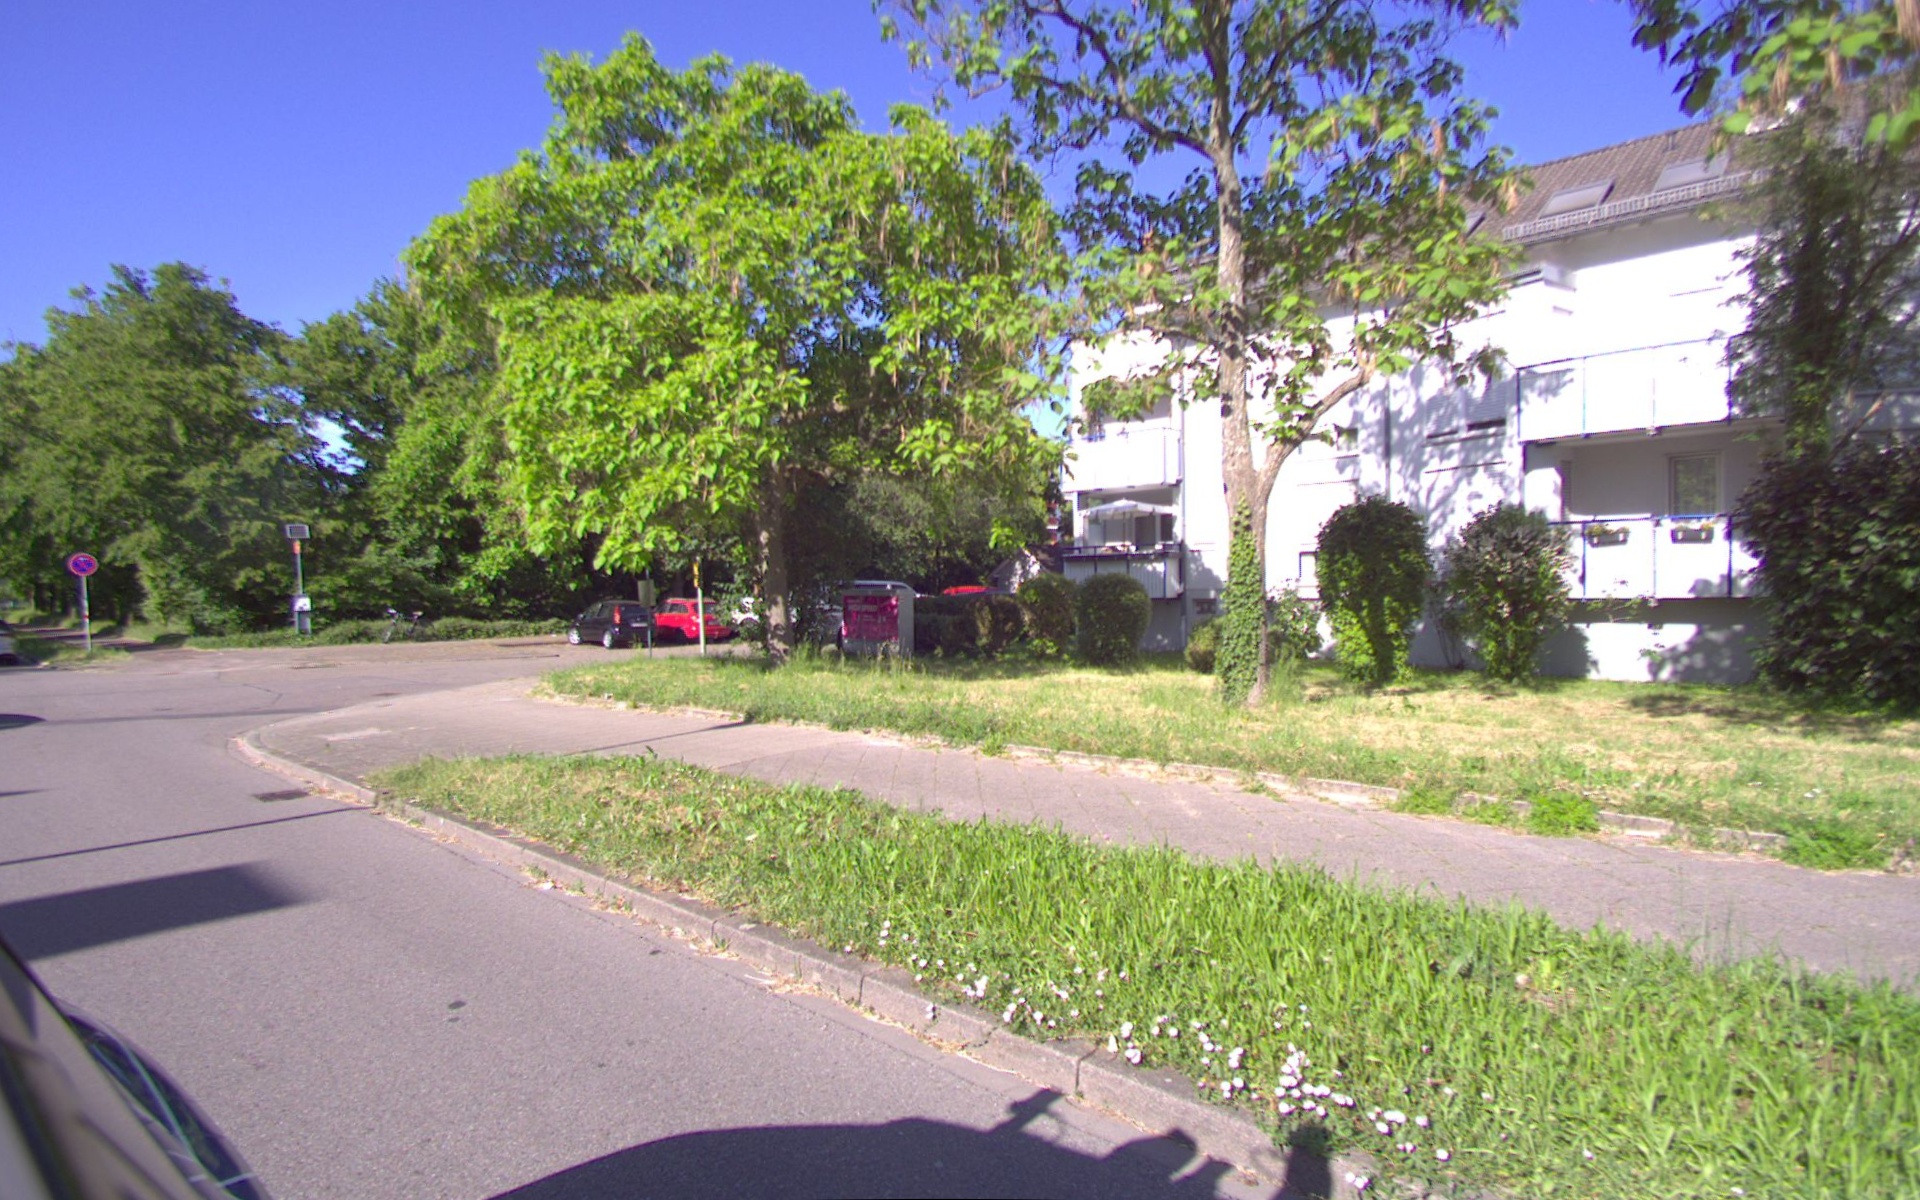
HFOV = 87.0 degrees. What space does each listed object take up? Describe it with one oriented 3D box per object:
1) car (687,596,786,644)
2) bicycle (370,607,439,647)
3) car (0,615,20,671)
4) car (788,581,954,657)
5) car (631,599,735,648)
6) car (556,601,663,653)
[{"bbox_3d":[-8.239,0.677,37.090,3.886,1.615,1.652,1,1,43],"label":"car"},{"bbox_3d":[-18.004,0.860,32.835,1.874,1.160,0.762,-1,3,-36],"label":"bicycle"},{"bbox_3d":[-27.983,1.162,28.260,4.178,1.477,1.647,1,0,34],"label":"car"},{"bbox_3d":[-2.488,0.516,28.981,4.399,1.984,2.070,-1,-1,-44],"label":"car"},{"bbox_3d":[-9.559,0.764,34.763,3.886,1.498,1.652,1,1,43],"label":"car"},{"bbox_3d":[-11.406,0.819,32.839,3.886,1.498,1.652,1,1,43],"label":"car"}]
